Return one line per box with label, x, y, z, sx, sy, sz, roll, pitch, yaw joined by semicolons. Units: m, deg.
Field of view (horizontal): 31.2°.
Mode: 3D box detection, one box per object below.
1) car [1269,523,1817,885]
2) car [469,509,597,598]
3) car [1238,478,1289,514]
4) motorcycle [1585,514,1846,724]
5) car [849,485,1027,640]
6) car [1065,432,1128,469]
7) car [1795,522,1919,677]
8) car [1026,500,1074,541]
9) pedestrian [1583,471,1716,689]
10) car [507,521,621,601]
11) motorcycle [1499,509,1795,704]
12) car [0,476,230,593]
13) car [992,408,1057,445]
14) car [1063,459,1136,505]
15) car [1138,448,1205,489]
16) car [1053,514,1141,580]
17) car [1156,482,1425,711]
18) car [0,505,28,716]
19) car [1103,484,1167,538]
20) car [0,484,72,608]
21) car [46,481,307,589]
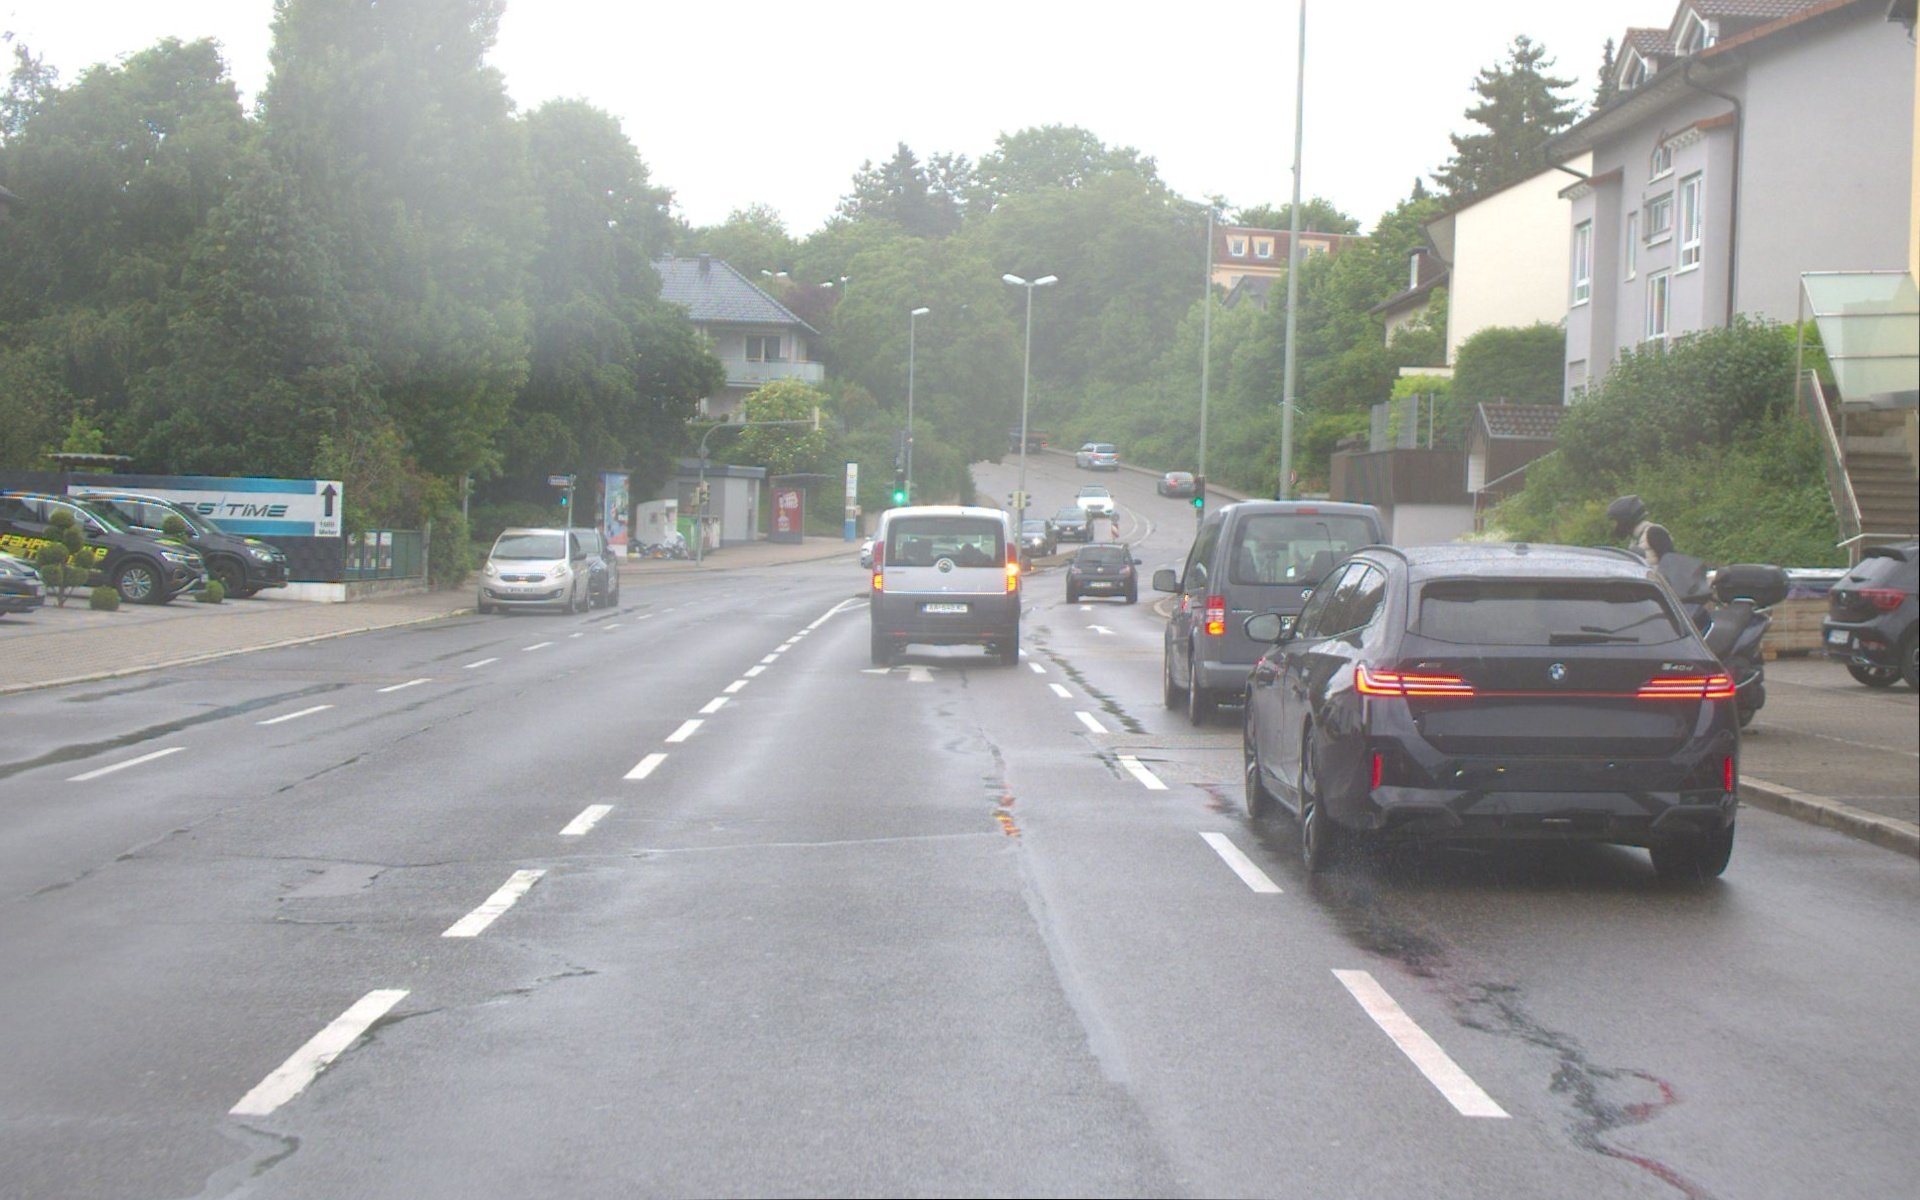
car;2.633;0.401;16.475;1.993;1.478;4.000;1;1;1
car;-8.008;-0.880;64.762;1.884;1.579;4.000;1;1;0
car;14.304;-4.894;161.994;1.993;1.579;4.000;1;1;0
motorcycle;5.508;0.108;24.999;2.084;1.445;0.822;-1;3;-44
car;-0.256;-0.467;41.434;1.993;1.731;4.000;1;1;0
car;8.424;-9.287;212.970;2.521;2.006;5.611;1;4;-12
car;10.191;-0.021;32.733;3.986;1.428;1.869;0;1;-2
car;4.001;-3.559;153.633;1.993;1.766;4.000;0;2;0
pedestrian;5.327;-0.159;26.582;0.829;1.644;0.622;1;1;-5
car;-8.202;-0.826;71.474;1.884;1.579;4.000;1;1;0
motorcycle;5.296;0.044;26.575;2.082;1.445;0.759;1;1;-5
car;-13.650;-1.054;53.520;4.072;1.511;1.856;5;1;0
car;4.223;-11.488;227.257;2.521;2.006;5.612;1;6;-18
car;7.149;-6.064;176.768;2.521;2.006;5.611;1;5;-10
car;11.816;-7.389;192.567;2.521;2.006;5.611;1;4;-10
car;3.371;-1.340;85.227;1.993;1.573;4.000;0;2;-1
car;2.710;-0.063;29.028;1.838;1.761;4.000;1;1;0
car;-7.709;0.084;23.489;1.757;1.527;4.210;1;1;-4
car;7.585;-3.912;149.755;2.521;2.006;5.609;2;4;1
car;-13.532;-0.767;43.506;4.072;1.511;1.856;3;1;0
car;-13.745;-1.145;60.454;4.072;1.511;1.856;5;1;0
